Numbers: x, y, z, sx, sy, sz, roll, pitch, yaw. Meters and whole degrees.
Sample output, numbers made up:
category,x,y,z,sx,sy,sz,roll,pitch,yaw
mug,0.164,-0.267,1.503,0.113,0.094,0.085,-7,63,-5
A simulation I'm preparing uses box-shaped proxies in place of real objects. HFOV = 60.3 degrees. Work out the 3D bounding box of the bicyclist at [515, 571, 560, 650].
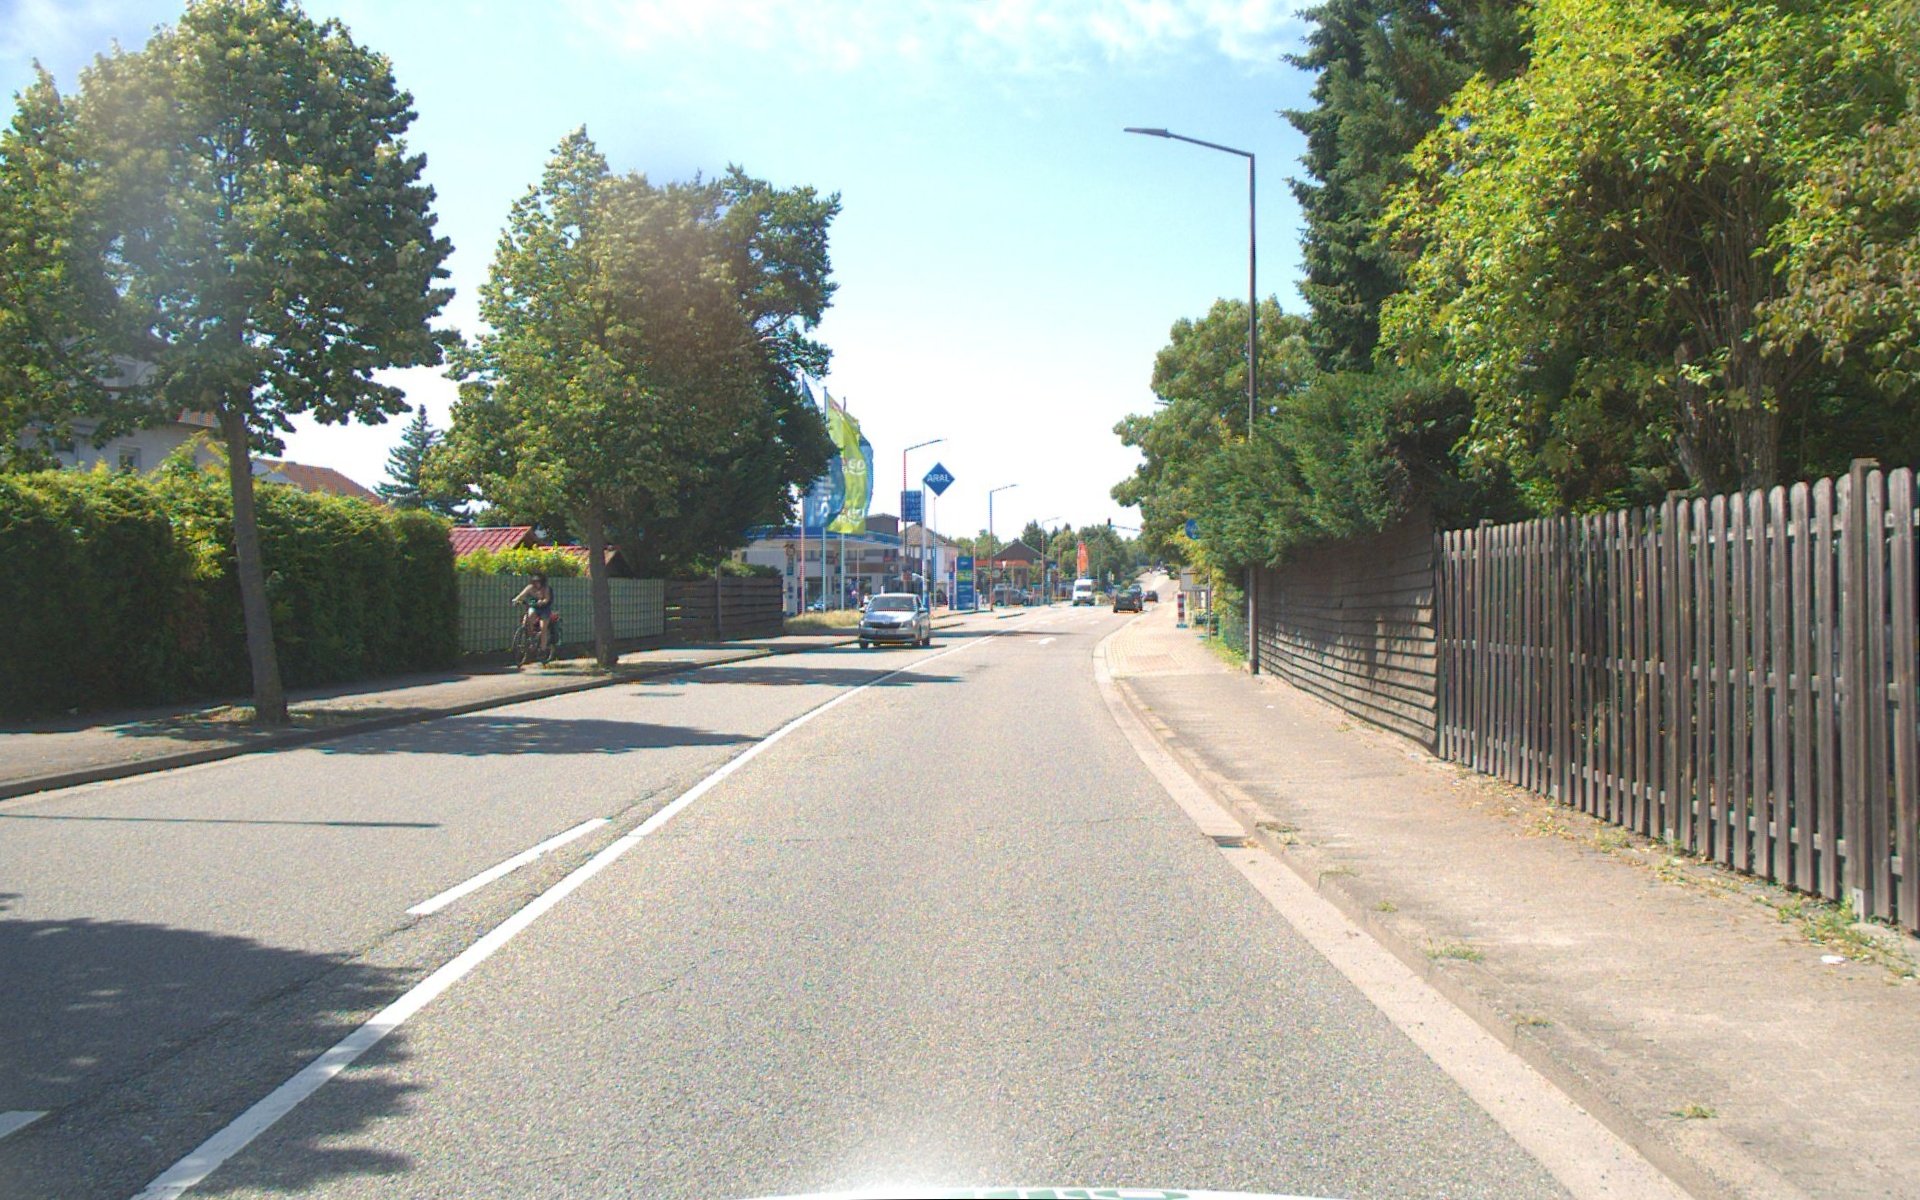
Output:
category,x,y,z,sx,sy,sz,roll,pitch,yaw
bicyclist,-7.713,0.190,30.228,0.615,1.433,0.677,-1,0,3

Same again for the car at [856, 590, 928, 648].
category,x,y,z,sx,sy,sz,roll,pitch,yaw
car,-1.814,0.490,45.285,1.578,1.508,3.709,0,0,4

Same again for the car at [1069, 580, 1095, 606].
category,x,y,z,sx,sy,sz,roll,pitch,yaw
car,12.357,-0.670,167.288,1.951,2.465,5.952,1,-1,10

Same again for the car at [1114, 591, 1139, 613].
category,x,y,z,sx,sy,sz,roll,pitch,yaw
car,11.446,0.156,113.408,1.630,1.481,3.475,0,0,7

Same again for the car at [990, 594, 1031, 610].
category,x,y,z,sx,sy,sz,roll,pitch,yaw
car,4.998,0.208,163.498,3.903,1.534,1.555,0,0,4

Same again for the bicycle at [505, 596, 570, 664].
category,x,y,z,sx,sy,sz,roll,pitch,yaw
bicycle,-7.710,0.526,30.241,0.619,1.201,1.817,-1,0,3

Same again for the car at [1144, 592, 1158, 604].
category,x,y,z,sx,sy,sz,roll,pitch,yaw
car,22.957,-0.255,198.477,1.630,1.481,3.475,0,0,7

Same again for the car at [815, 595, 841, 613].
category,x,y,z,sx,sy,sz,roll,pitch,yaw
car,-10.713,0.304,134.148,1.583,1.445,3.713,-2,0,3

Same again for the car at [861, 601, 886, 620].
category,x,y,z,sx,sy,sz,roll,pitch,yaw
car,-7.007,0.840,134.371,1.583,1.445,3.713,-2,0,3
